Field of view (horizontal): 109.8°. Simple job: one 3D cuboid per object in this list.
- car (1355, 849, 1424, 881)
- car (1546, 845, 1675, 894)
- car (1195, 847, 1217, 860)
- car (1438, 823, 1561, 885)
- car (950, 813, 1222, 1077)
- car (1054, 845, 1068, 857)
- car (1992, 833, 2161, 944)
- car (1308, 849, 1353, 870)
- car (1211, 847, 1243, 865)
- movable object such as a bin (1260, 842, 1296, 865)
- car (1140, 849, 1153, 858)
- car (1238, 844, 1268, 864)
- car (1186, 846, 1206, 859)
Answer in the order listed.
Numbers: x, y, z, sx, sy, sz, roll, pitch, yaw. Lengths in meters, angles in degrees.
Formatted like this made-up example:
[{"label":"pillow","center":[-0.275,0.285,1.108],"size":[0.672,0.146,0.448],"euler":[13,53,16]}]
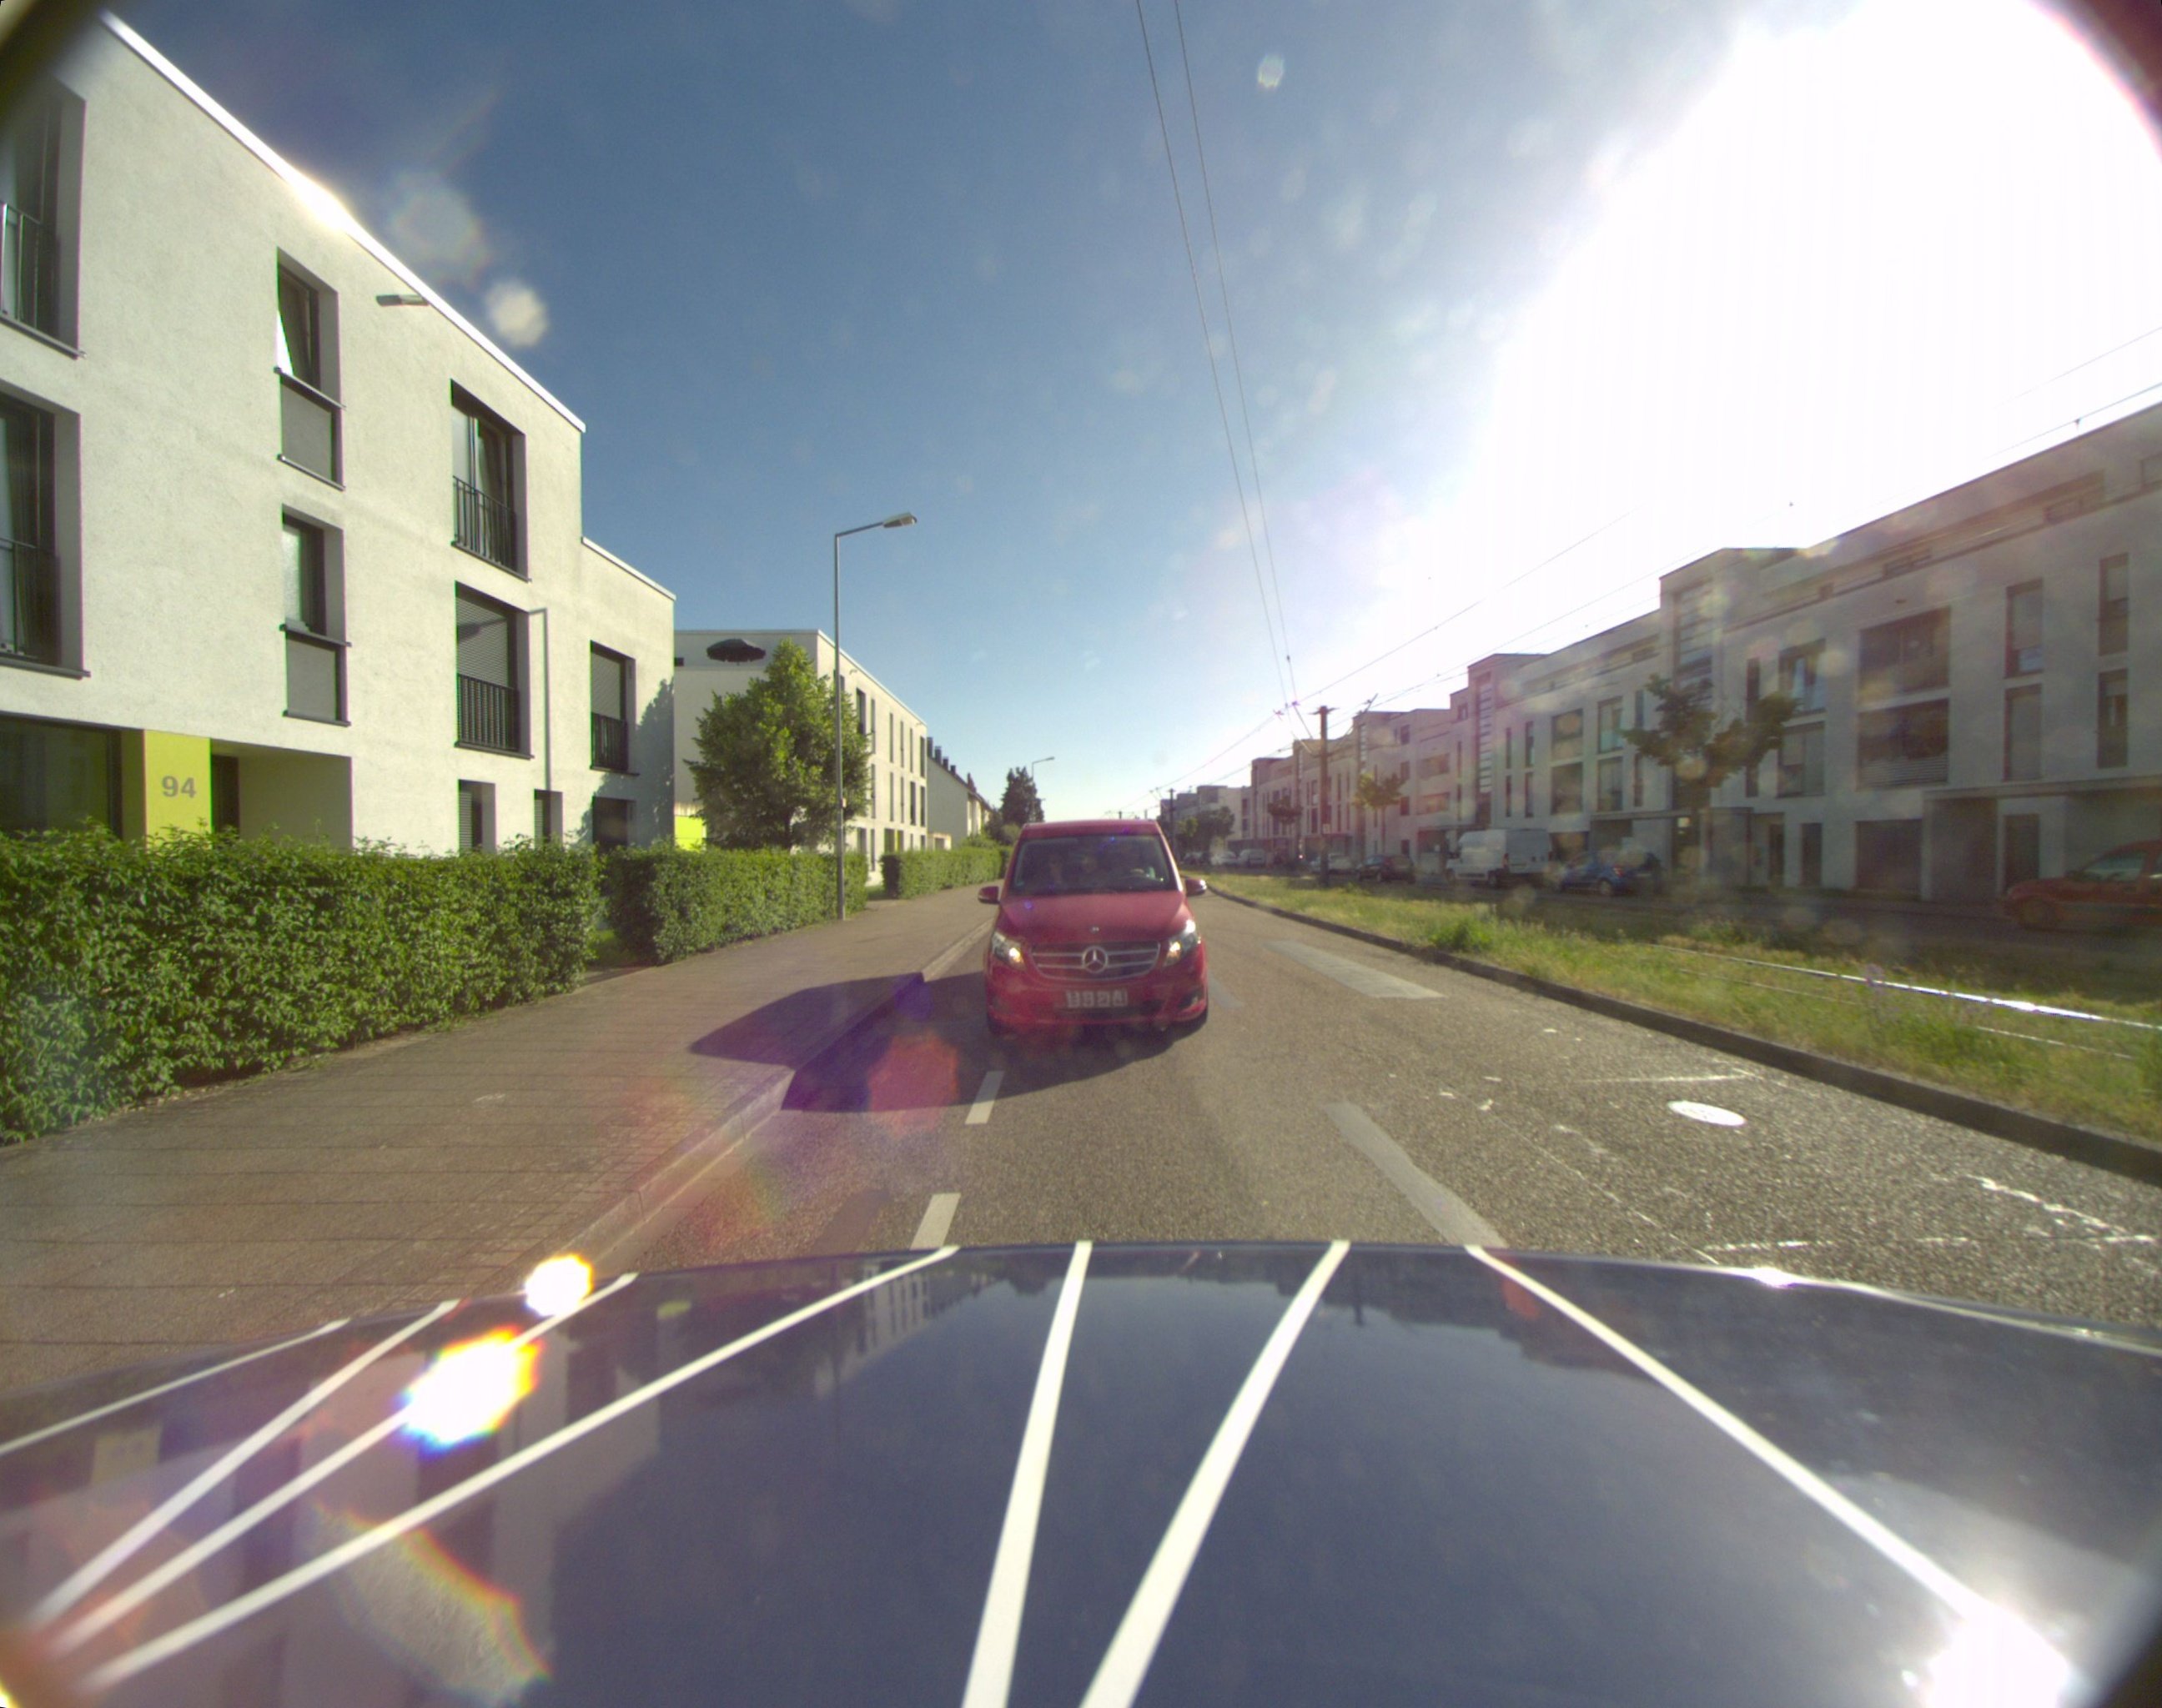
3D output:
[{"label":"car","center":[14.851,0.481,36.797],"size":[1.792,1.410,4.000],"euler":[1,0,1]},{"label":"car","center":[18.322,0.496,26.513],"size":[1.829,1.528,3.842],"euler":[-2,0,0]},{"label":"car","center":[15.405,-0.078,93.933],"size":[1.766,1.590,4.155],"euler":[-2,0,-4]},{"label":"car","center":[18.152,-0.024,33.337],"size":[2.146,2.430,5.588],"euler":[-2,0,-1]},{"label":"car","center":[0.097,0.674,8.333],"size":[1.979,1.922,5.205],"euler":[-2,0,1]},{"label":"car","center":[-2.622,-0.379,98.379],"size":[1.700,1.466,4.013],"euler":[2,0,0]},{"label":"car","center":[18.549,0.552,12.784],"size":[1.885,1.785,3.837],"euler":[-2,0,1]},{"label":"car","center":[17.562,0.358,53.694],"size":[1.521,1.424,4.155],"euler":[-2,0,-4]},{"label":"car","center":[13.774,0.135,72.054],"size":[1.999,1.586,4.645],"euler":[2,0,-2]},{"label":"movable object such as a bin","center":[17.093,-0.036,66.193],"size":[1.766,1.926,4.155],"euler":[-2,0,-4]},{"label":"car","center":[11.954,-0.181,139.363],"size":[1.766,1.590,4.155],"euler":[-2,0,-4]},{"label":"car","center":[16.773,-0.047,74.249],"size":[1.766,1.859,4.155],"euler":[-2,0,-4]},{"label":"car","center":[15.014,-0.187,99.566],"size":[1.766,1.590,4.155],"euler":[-2,0,-4]}]
